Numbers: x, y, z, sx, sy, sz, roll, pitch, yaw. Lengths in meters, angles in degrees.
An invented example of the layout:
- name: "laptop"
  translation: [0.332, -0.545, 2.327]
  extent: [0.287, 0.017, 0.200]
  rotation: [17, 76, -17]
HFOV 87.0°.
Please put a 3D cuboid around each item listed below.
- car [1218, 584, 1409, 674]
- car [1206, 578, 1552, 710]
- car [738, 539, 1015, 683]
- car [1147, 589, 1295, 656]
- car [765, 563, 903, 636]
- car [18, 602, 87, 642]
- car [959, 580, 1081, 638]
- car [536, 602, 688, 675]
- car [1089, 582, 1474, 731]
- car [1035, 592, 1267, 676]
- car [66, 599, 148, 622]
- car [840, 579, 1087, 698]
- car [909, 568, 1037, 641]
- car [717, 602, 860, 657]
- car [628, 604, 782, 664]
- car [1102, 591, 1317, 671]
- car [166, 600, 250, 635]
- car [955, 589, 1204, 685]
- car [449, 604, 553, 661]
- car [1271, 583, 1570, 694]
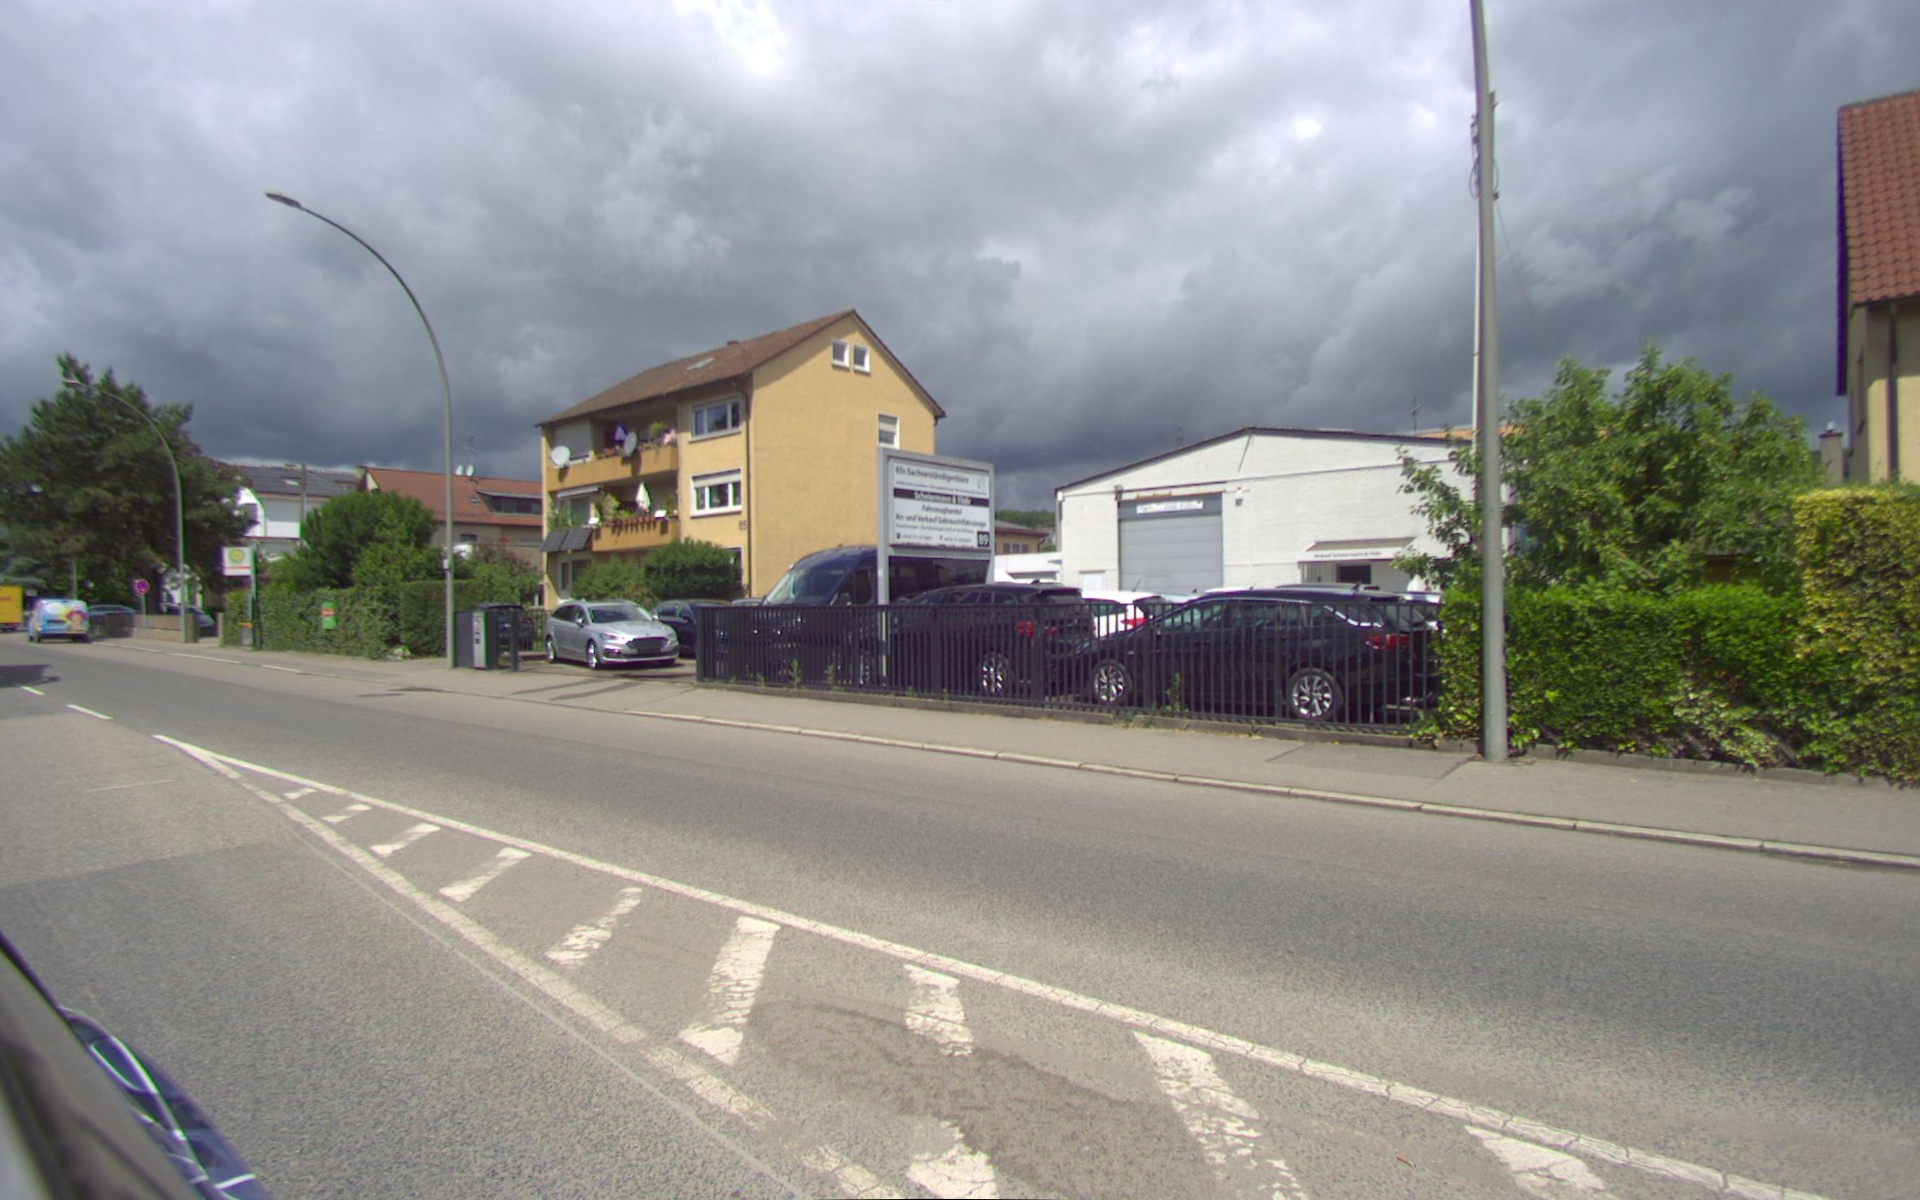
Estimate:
- name: "car"
  translation: [8.638, 0.648, 24.908]
  extent: [4.000, 2.029, 1.972]
  rotation: [0, 0, 43]
- name: "car"
  translation: [5.683, 0.510, 13.998]
  extent: [4.000, 1.552, 1.972]
  rotation: [0, 0, 43]
- name: "car"
  translation: [-1.462, 0.172, 19.606]
  extent: [2.105, 2.402, 5.291]
  rotation: [0, 0, 44]
- name: "car"
  translation: [8.030, 0.637, 31.353]
  extent: [4.000, 1.941, 1.972]
  rotation: [0, 0, 43]
- name: "car"
  translation: [-3.773, -0.024, 30.050]
  extent: [4.000, 2.029, 1.972]
  rotation: [0, 0, 43]
- name: "car"
  translation: [-39.487, 0.935, 44.022]
  extent: [3.998, 1.693, 1.707]
  rotation: [0, -1, 41]
- name: "car"
  translation: [2.086, 0.303, 35.756]
  extent: [4.000, 1.941, 1.972]
  rotation: [0, 0, 43]
- name: "car"
  translation: [-7.996, 0.789, 23.046]
  extent: [1.860, 1.470, 4.358]
  rotation: [-1, 1, -39]
- name: "car"
  translation: [3.744, 0.566, 12.198]
  extent: [4.042, 1.494, 1.839]
  rotation: [0, 0, 42]
- name: "car"
  translation: [3.516, 0.571, 19.071]
  extent: [4.000, 1.423, 1.715]
  rotation: [0, 0, 43]
- name: "car"
  translation: [-67.337, 0.792, 79.915]
  extent: [2.217, 1.691, 4.674]
  rotation: [0, 0, 41]
- name: "car"
  translation: [-0.020, 0.532, 15.801]
  extent: [3.621, 1.633, 1.789]
  rotation: [0, 0, 43]
- name: "car"
  translation: [0.387, 0.143, 33.700]
  extent: [4.000, 2.286, 1.972]
  rotation: [0, 0, 43]
- name: "car"
  translation: [-4.760, 0.750, 27.794]
  extent: [4.000, 1.383, 1.858]
  rotation: [0, 0, 43]
- name: "car"
  translation: [-6.431, 0.789, 25.313]
  extent: [4.000, 1.352, 1.860]
  rotation: [0, 0, 43]
- name: "car"
  translation: [5.106, 0.580, 21.011]
  extent: [4.000, 1.498, 1.741]
  rotation: [0, 0, 43]
- name: "car"
  translation: [-45.849, 1.058, 61.707]
  extent: [3.957, 2.029, 1.993]
  rotation: [0, 0, 11]
- name: "car"
  translation: [1.977, 0.562, 17.449]
  extent: [4.000, 1.470, 1.794]
  rotation: [0, 0, 43]
- name: "car"
  translation: [-14.654, 0.974, 32.239]
  extent: [3.522, 1.678, 1.806]
  rotation: [0, 0, 43]
- name: "car"
  translation: [7.363, 0.541, 16.395]
  extent: [4.000, 1.560, 1.972]
  rotation: [0, 0, 43]
